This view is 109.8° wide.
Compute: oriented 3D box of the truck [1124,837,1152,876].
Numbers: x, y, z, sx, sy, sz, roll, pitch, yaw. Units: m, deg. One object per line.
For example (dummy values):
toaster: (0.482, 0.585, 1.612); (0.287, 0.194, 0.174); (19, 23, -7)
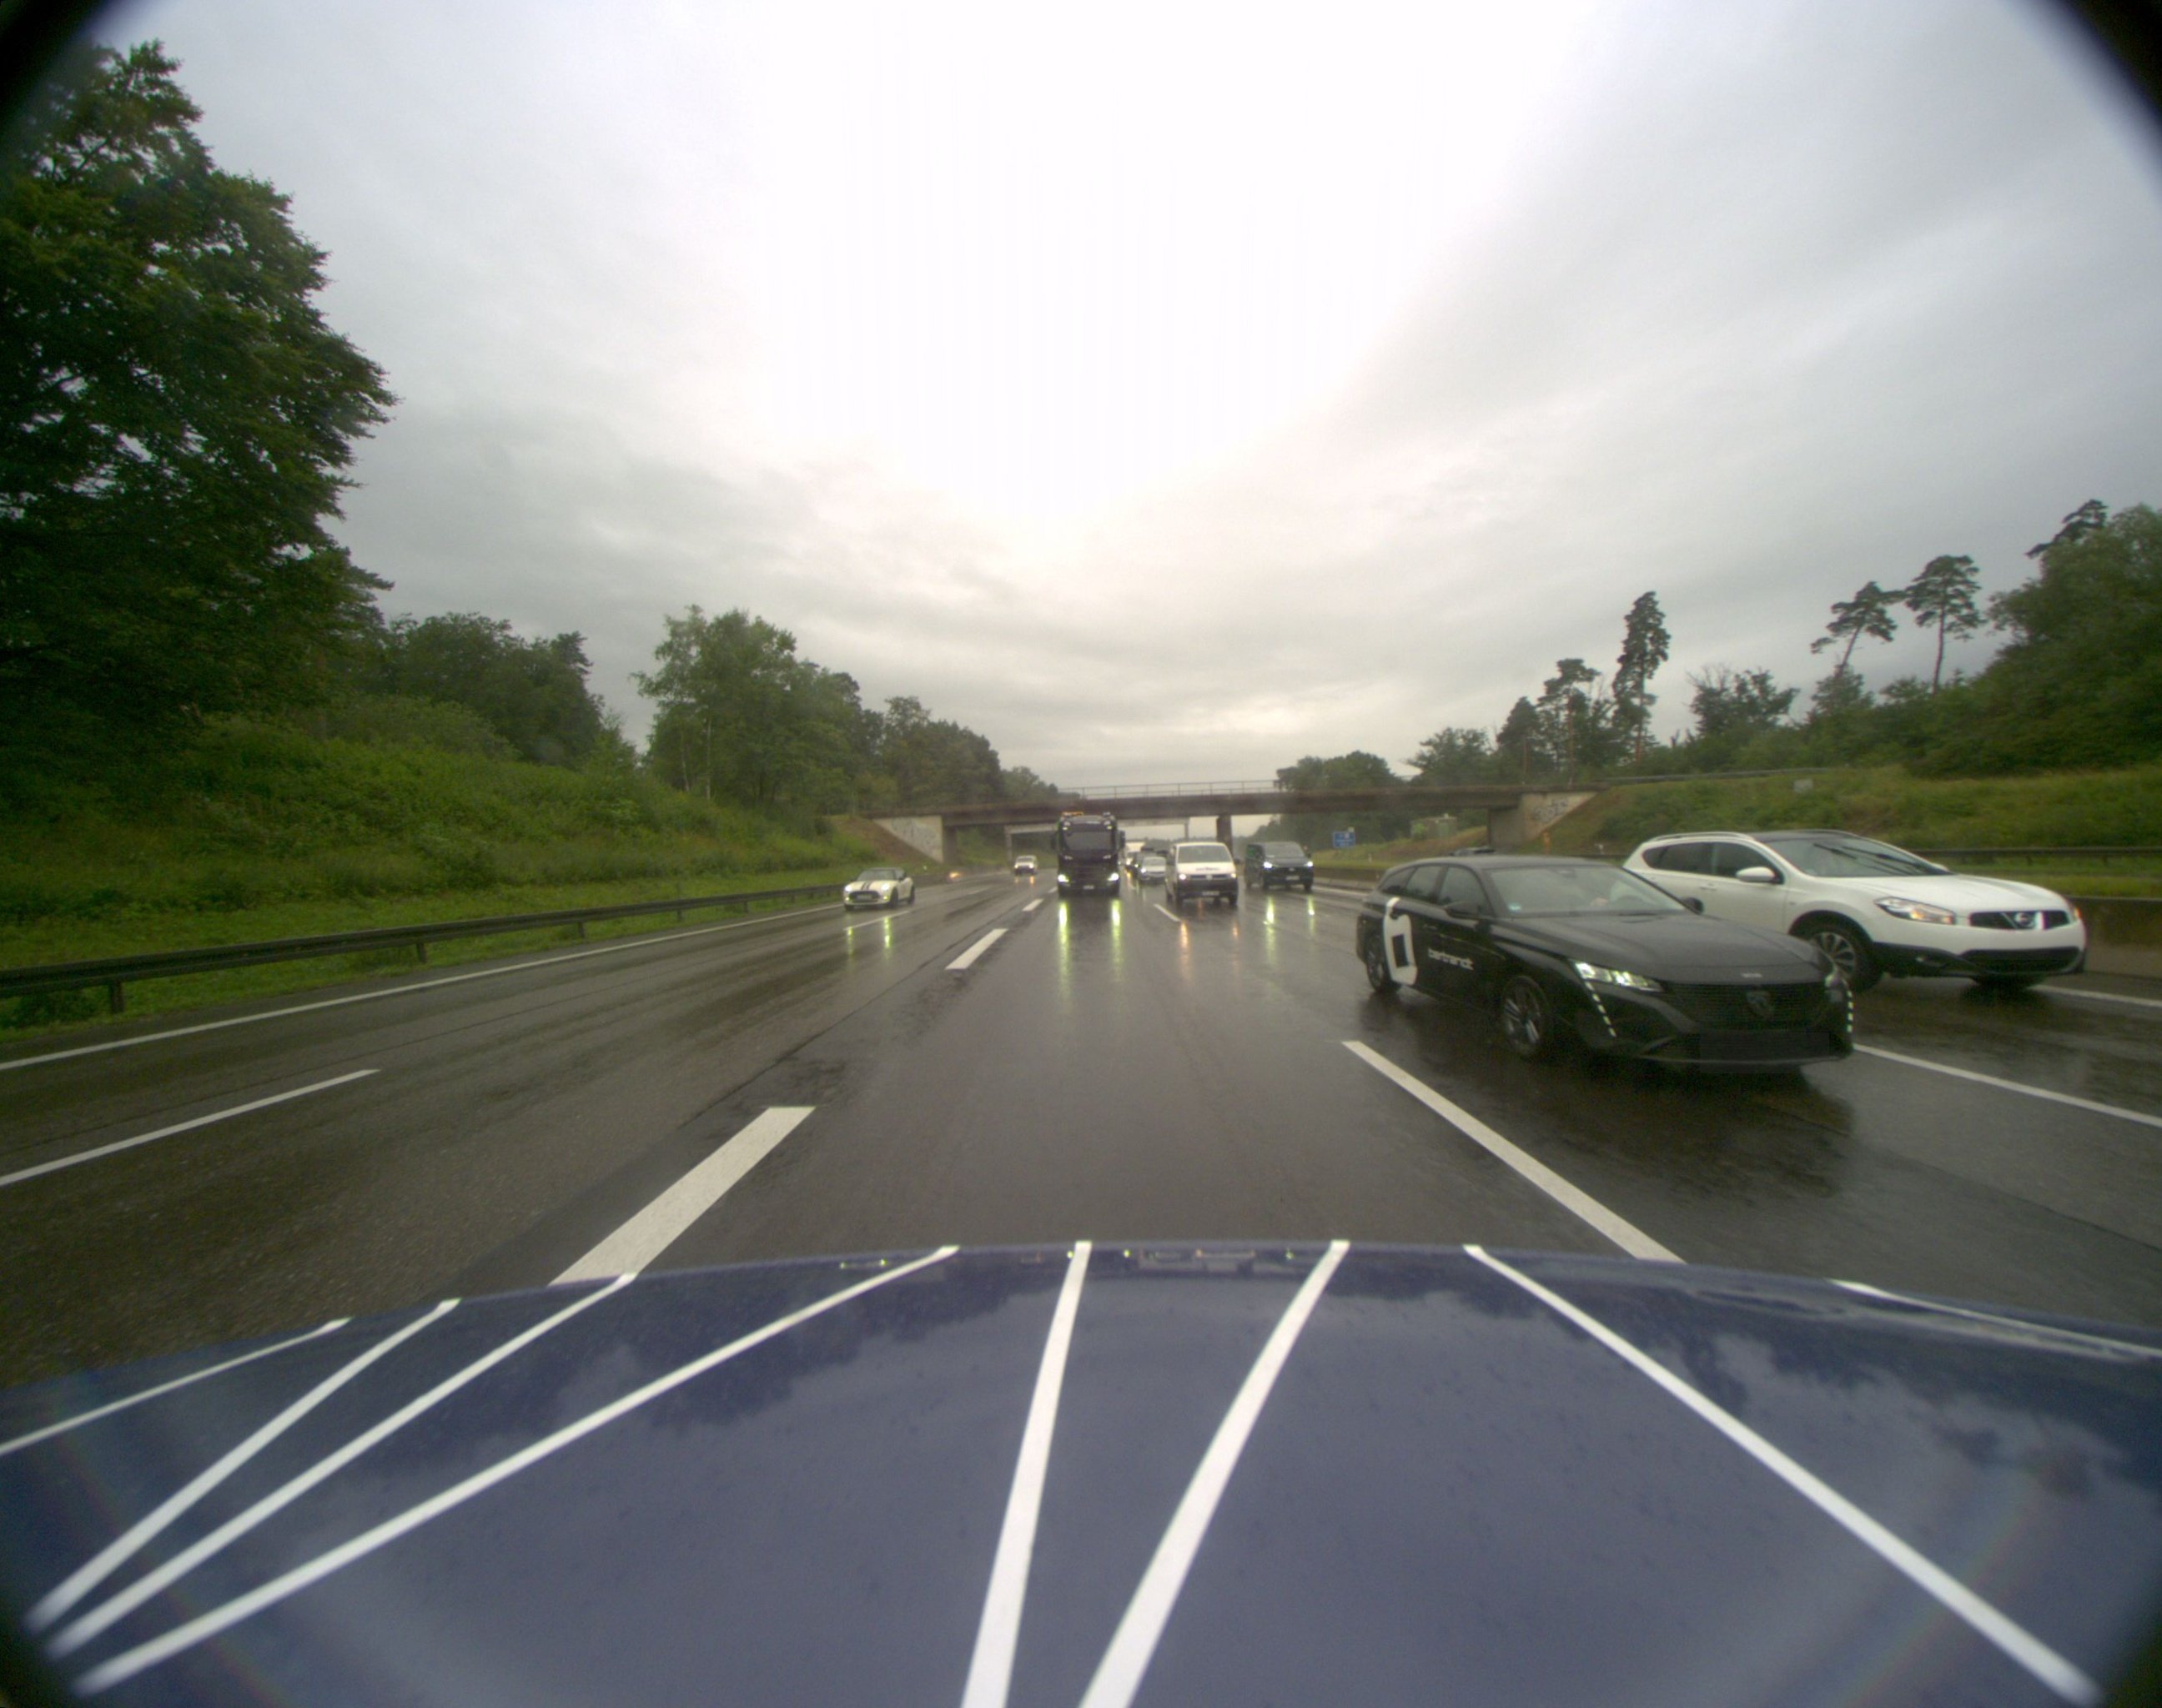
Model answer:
truck: (6.109, 0.277, 82.552); (2.521, 3.941, 6.994); (-2, 0, 1)

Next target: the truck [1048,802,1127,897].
truck: (0.452, -0.247, 34.298); (2.879, 3.528, 10.911); (-2, 1, 2)

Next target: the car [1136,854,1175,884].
car: (4.160, 0.810, 42.946); (1.850, 1.496, 4.466); (-2, 0, 2)

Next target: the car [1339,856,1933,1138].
car: (3.853, 0.813, 6.472); (1.850, 1.495, 4.467); (-2, 0, 2)

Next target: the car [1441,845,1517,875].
car: (19.985, 0.287, 38.370); (1.720, 1.382, 3.952); (-2, 0, -1)

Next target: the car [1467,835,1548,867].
car: (20.005, -0.140, 35.811); (1.806, 1.337, 3.676); (-2, 0, 1)

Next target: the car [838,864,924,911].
car: (-7.025, 1.134, 27.134); (1.795, 1.399, 4.228); (-2, 0, 2)

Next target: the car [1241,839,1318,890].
car: (8.222, 0.392, 32.046); (1.996, 1.933, 5.243); (-2, 1, 2)

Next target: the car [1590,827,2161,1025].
car: (8.097, 0.597, 8.522); (1.850, 1.582, 4.467); (-2, 0, 2)

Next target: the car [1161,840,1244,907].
car: (3.783, 0.568, 24.477); (1.995, 1.869, 4.767); (-2, 0, 2)

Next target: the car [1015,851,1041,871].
car: (-5.343, 0.668, 77.251); (1.994, 1.910, 4.767); (-2, 0, 2)

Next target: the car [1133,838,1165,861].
car: (4.873, -0.320, 54.879); (1.994, 1.551, 4.767); (-2, 0, 2)

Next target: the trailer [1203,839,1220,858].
trailer: (35.450, -1.463, 206.396); (3.212, 4.785, 13.349); (-2, 0, 4)

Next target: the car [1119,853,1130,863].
car: (9.445, 0.896, 164.044); (1.998, 2.002, 3.999); (-2, 0, 0)
